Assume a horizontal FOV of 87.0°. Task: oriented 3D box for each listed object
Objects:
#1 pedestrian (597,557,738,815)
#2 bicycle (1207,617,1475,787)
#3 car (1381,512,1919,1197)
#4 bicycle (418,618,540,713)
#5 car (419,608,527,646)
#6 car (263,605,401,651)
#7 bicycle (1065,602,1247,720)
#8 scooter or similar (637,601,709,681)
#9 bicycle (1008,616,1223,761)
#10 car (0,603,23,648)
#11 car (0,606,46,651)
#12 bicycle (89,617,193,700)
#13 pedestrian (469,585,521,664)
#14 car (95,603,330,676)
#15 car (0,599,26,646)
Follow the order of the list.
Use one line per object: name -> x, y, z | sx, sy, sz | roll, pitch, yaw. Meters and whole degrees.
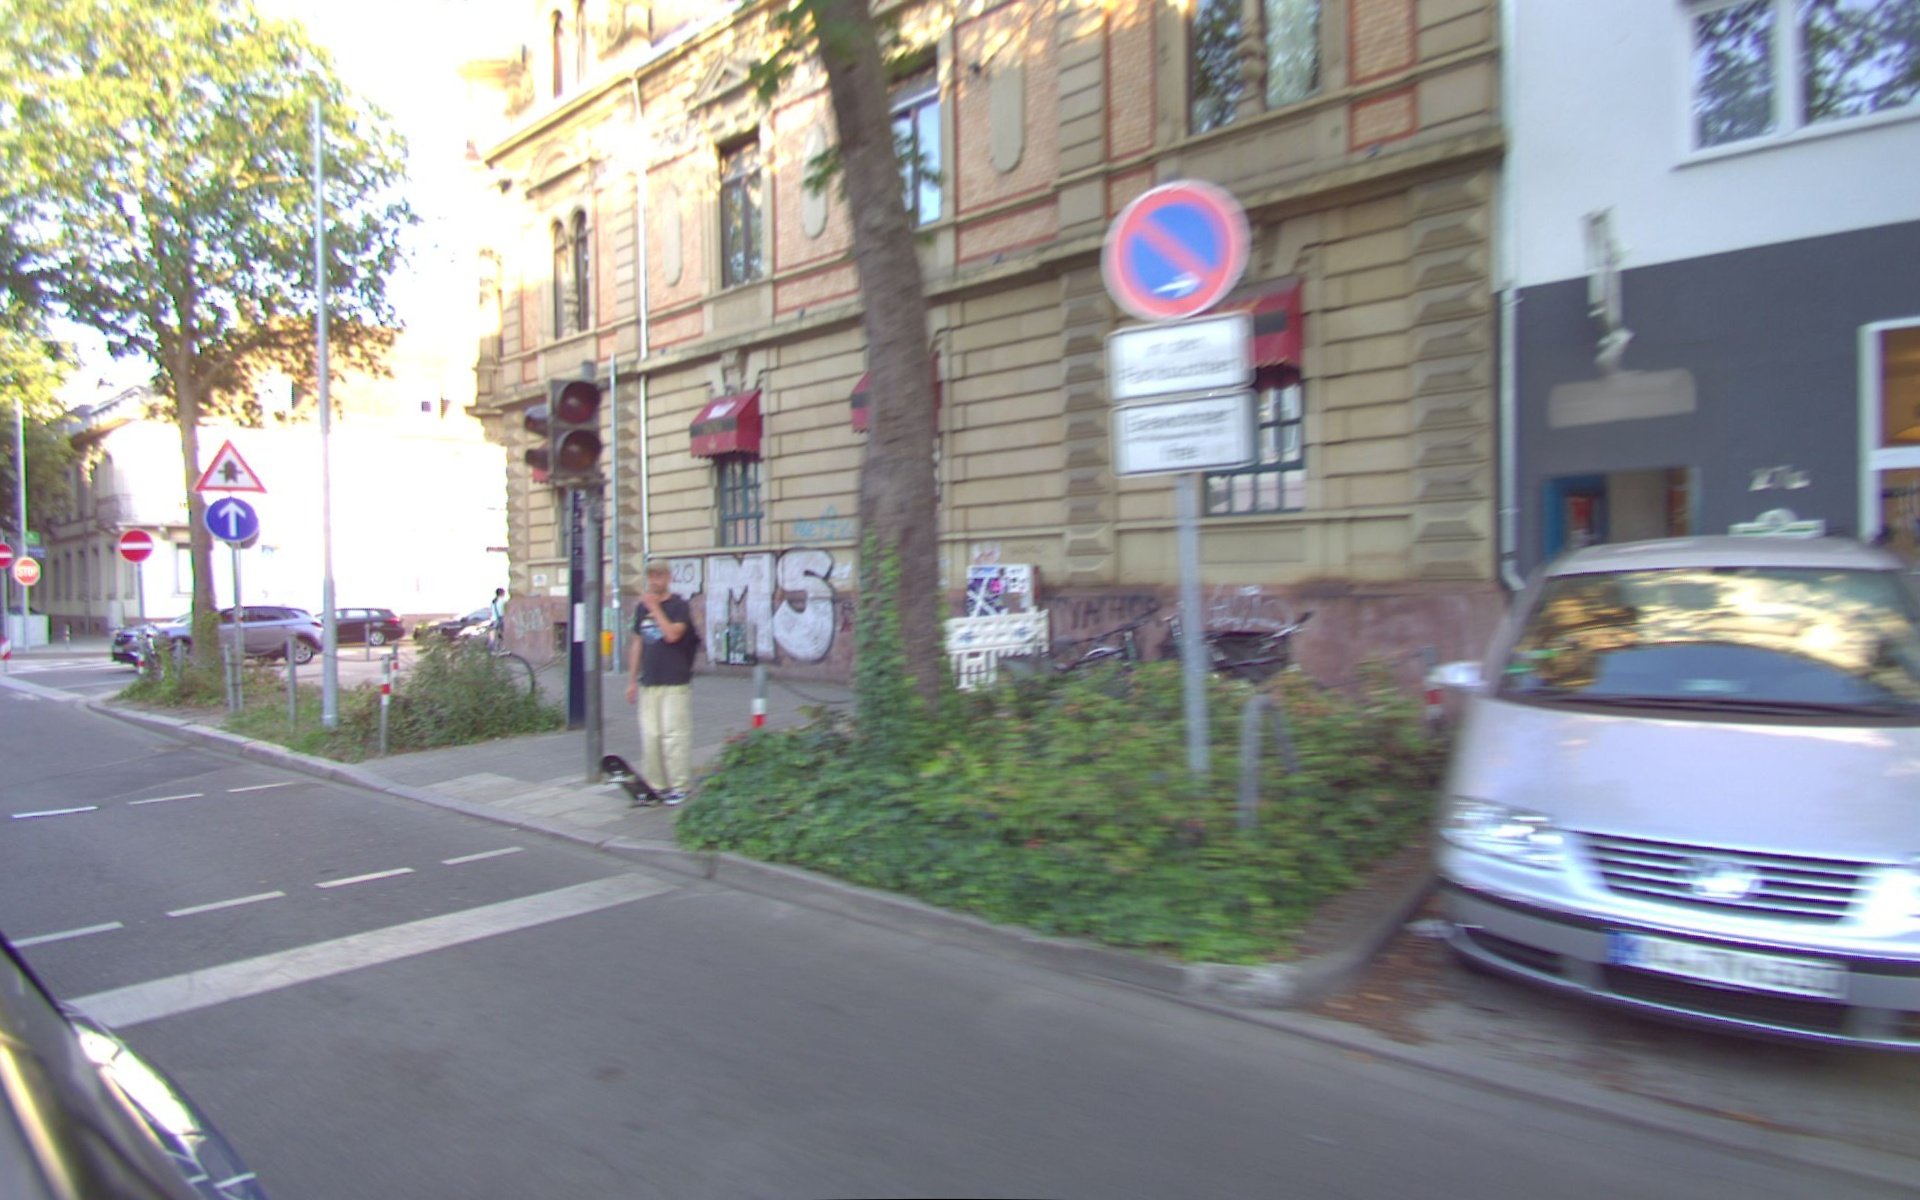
pedestrian -> -2.129, 0.592, 7.454 | 0.756, 1.790, 0.831 | -1, 1, 2
bicycle -> 2.818, 0.702, 7.599 | 1.797, 1.116, 0.494 | -1, 3, 38
car -> 3.446, 0.544, 4.504 | 1.887, 1.735, 4.385 | -1, 2, 37
bicycle -> -6.106, 0.799, 12.812 | 1.795, 1.116, 0.494 | -1, 2, 34
car -> -19.083, 1.028, 39.731 | 3.750, 1.335, 1.839 | -1, 0, -26
car -> -23.171, 1.000, 37.545 | 4.197, 1.541, 1.839 | -1, 0, -27
bicycle -> 2.010, 0.602, 10.524 | 1.797, 1.116, 0.494 | -1, 3, 38
scooter or similar -> -4.543, 0.645, 15.985 | 1.272, 1.207, 0.380 | -3, 1, 40
bicycle -> 1.310, 0.717, 8.777 | 1.797, 1.116, 0.494 | -1, 3, 38
car -> -40.050, 1.052, 40.104 | 1.793, 1.825, 3.958 | -1, 0, 30
car -> -37.775, 1.107, 38.620 | 1.793, 1.682, 3.958 | -1, 0, 30
bicycle -> -13.756, 0.951, 17.084 | 0.793, 1.234, 2.425 | -5, 1, -27
pedestrian -> -9.699, 0.499, 21.137 | 0.644, 1.577, 0.907 | -3, 1, -5
car -> -18.442, 0.897, 25.193 | 1.939, 1.582, 4.317 | 1, 0, 29
car -> -41.716, 0.958, 41.989 | 1.993, 1.966, 3.958 | -1, 0, 31
